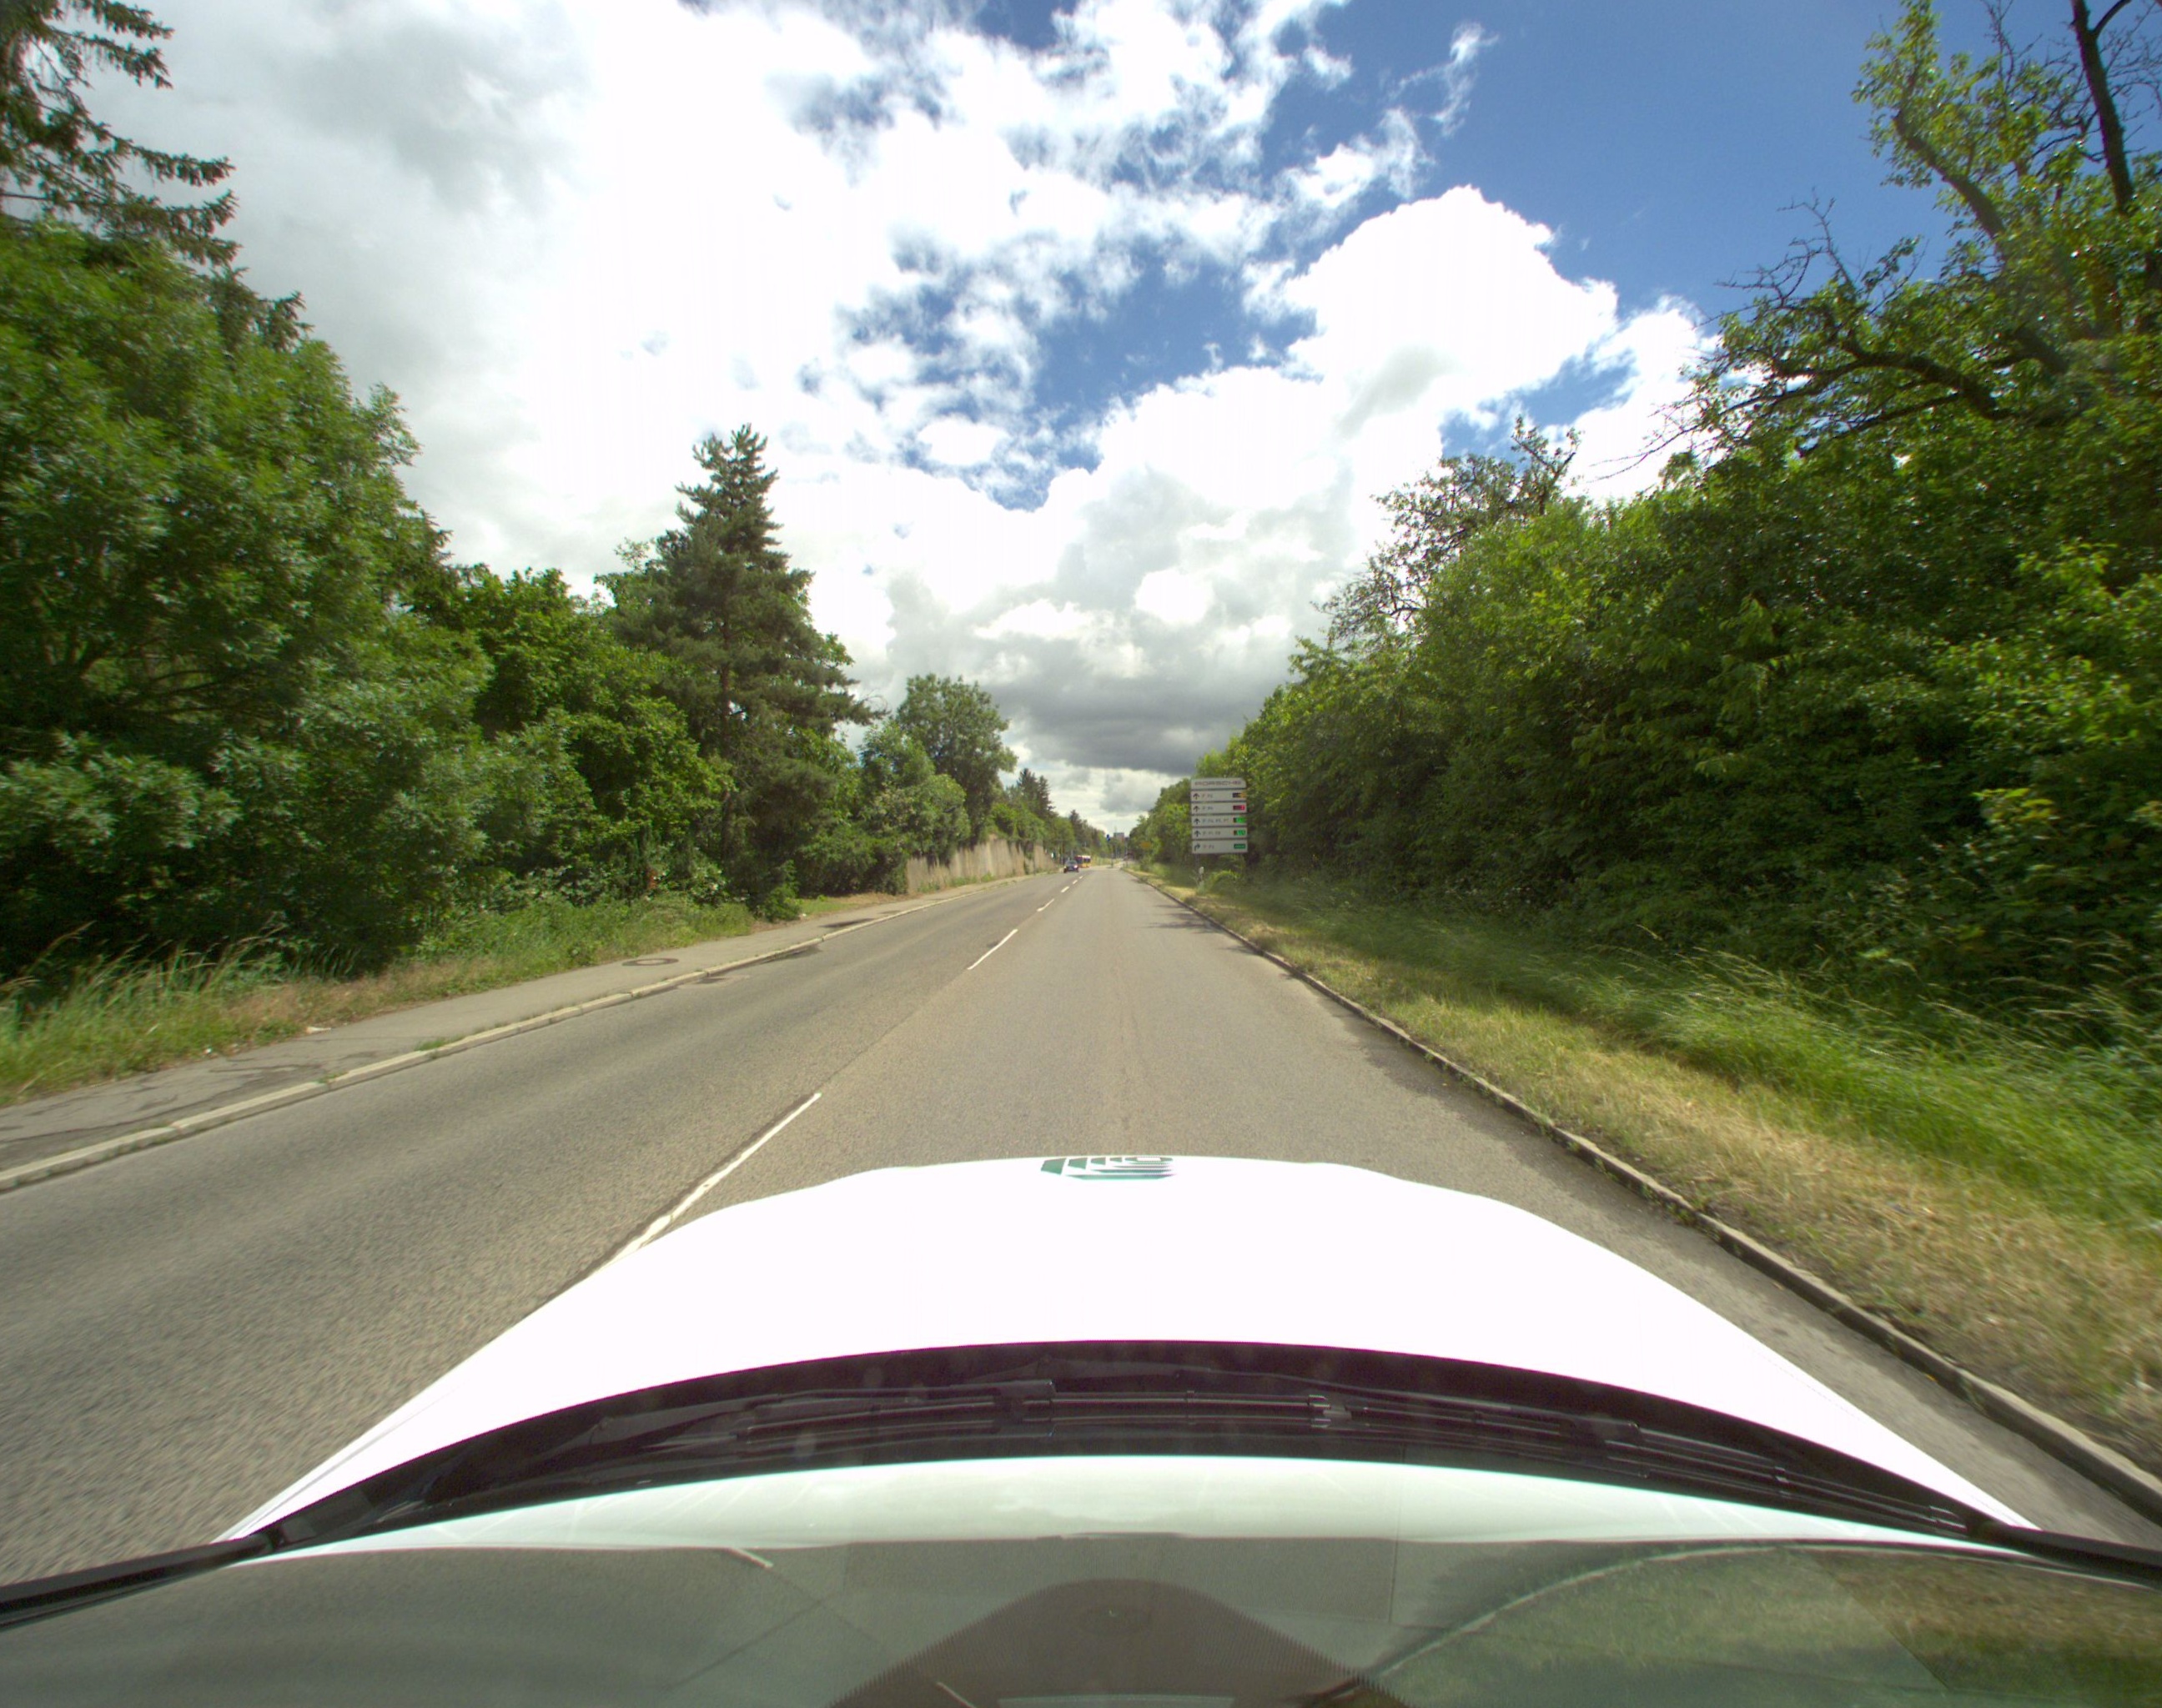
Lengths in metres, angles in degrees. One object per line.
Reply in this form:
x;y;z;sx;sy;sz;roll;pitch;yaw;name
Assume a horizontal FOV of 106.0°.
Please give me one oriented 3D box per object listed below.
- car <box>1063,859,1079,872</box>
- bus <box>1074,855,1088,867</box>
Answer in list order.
-1.217;1.380;97.956;1.745;1.464;4.001;-2;0;1;car
-0.073;1.880;208.813;2.881;2.899;7.678;0;0;5;bus
